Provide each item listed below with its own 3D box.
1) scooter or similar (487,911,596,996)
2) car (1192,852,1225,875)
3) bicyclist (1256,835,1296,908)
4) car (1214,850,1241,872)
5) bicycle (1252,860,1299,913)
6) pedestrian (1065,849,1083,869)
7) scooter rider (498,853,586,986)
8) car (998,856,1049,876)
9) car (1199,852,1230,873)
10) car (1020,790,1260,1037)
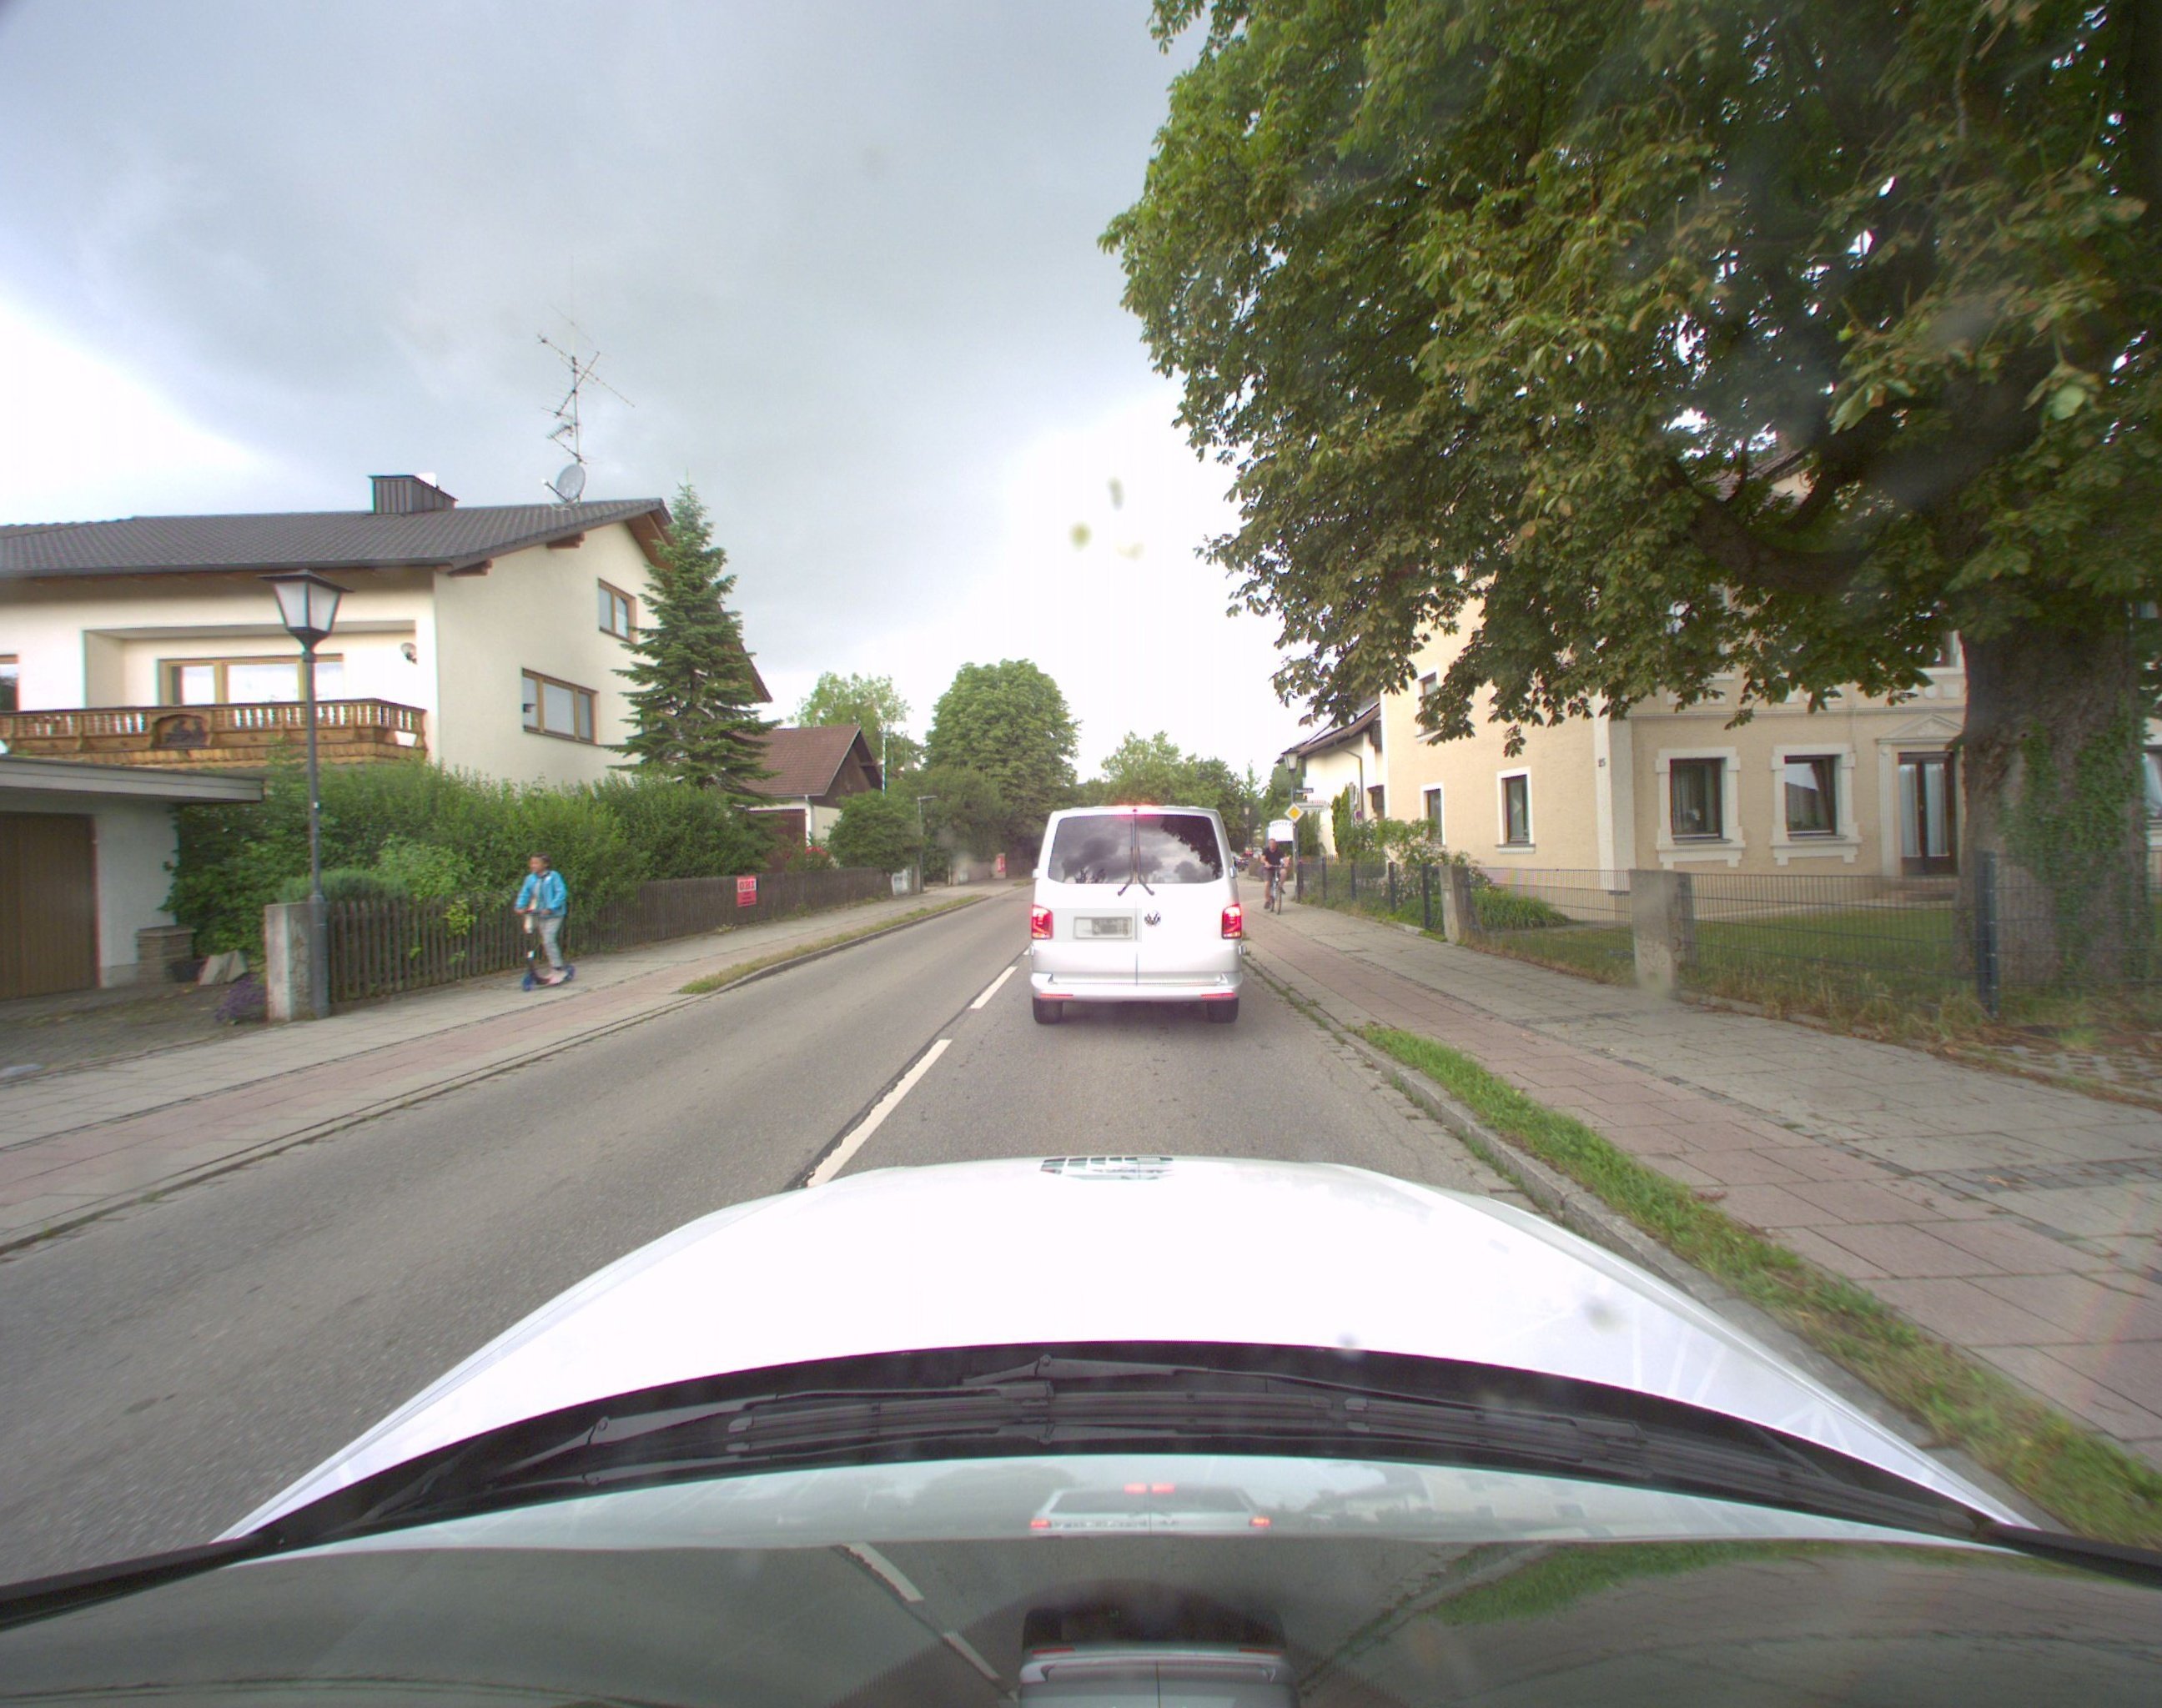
[{"bbox_3d":[-6.265,1.132,9.504,0.519,0.850,1.062,-1,0,3],"label":"scooter or similar"},{"bbox_3d":[8.879,0.649,56.689,1.868,1.535,3.936,-2,0,14],"label":"car"},{"bbox_3d":[4.516,0.403,18.928,0.733,1.632,0.891,-1,0,3],"label":"bicyclist"},{"bbox_3d":[12.548,0.577,69.491,1.867,1.748,4.096,-2,0,15],"label":"car"},{"bbox_3d":[4.510,0.725,19.015,0.761,1.143,1.847,-1,0,4],"label":"bicycle"},{"bbox_3d":[-0.622,0.468,76.653,1.328,1.803,1.058,-1,0,-32],"label":"pedestrian"},{"bbox_3d":[-6.269,0.733,9.498,0.500,1.489,0.716,-1,0,2],"label":"scooter rider"},{"bbox_3d":[-4.608,0.929,64.838,3.982,1.486,1.996,-1,0,-6],"label":"car"},{"bbox_3d":[10.324,0.655,62.685,1.867,1.535,3.937,-2,0,16],"label":"car"},{"bbox_3d":[0.572,0.481,8.509,1.873,1.940,3.923,-2,0,3],"label":"car"}]
